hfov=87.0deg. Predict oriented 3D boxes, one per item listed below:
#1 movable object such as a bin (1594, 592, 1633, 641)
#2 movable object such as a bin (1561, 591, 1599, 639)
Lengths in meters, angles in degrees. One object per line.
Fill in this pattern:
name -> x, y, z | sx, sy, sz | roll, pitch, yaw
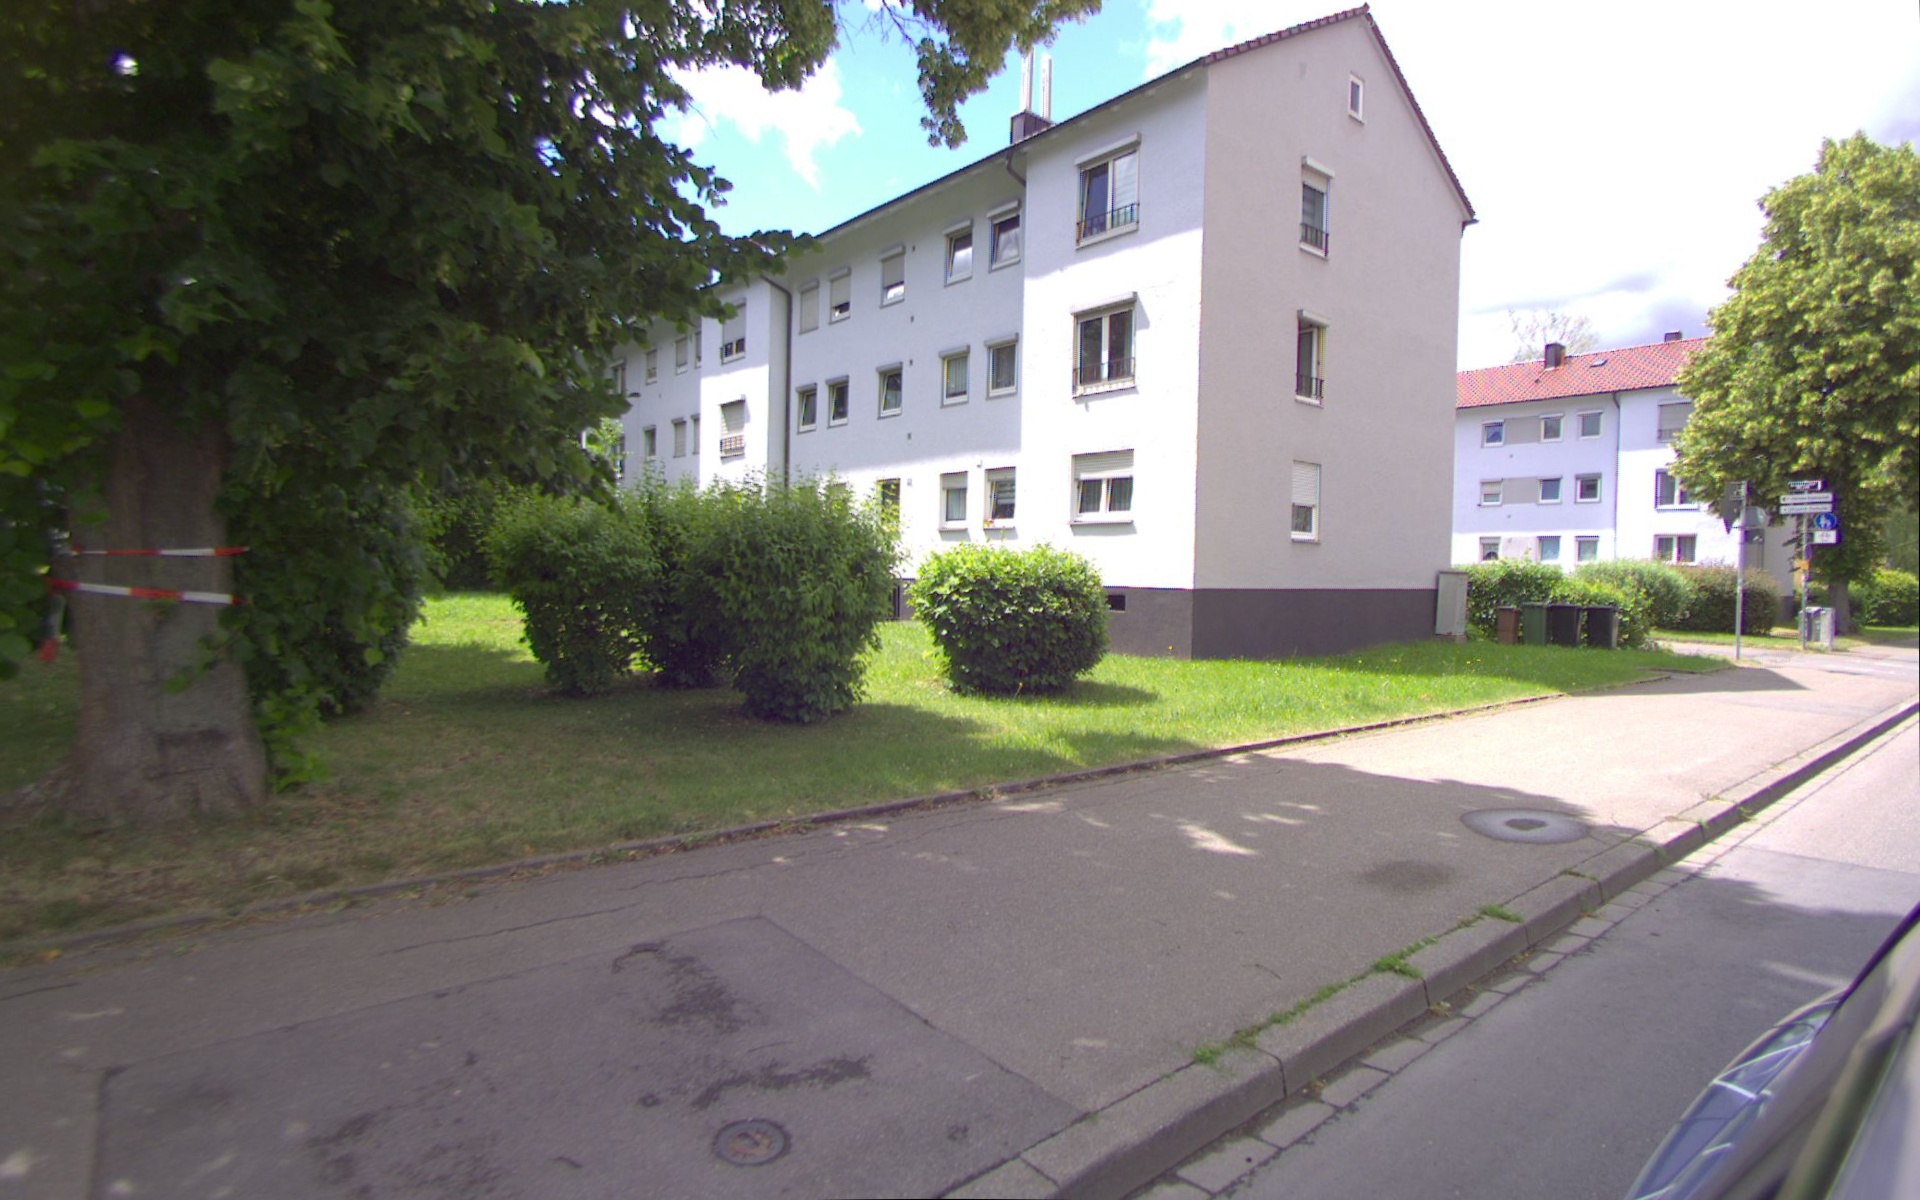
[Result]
movable object such as a bin -> 13.412, 0.336, 20.770 | 0.570, 0.966, 0.497 | 0, 3, -41
movable object such as a bin -> 12.947, 0.314, 21.140 | 0.541, 0.959, 0.501 | 0, 3, -41
